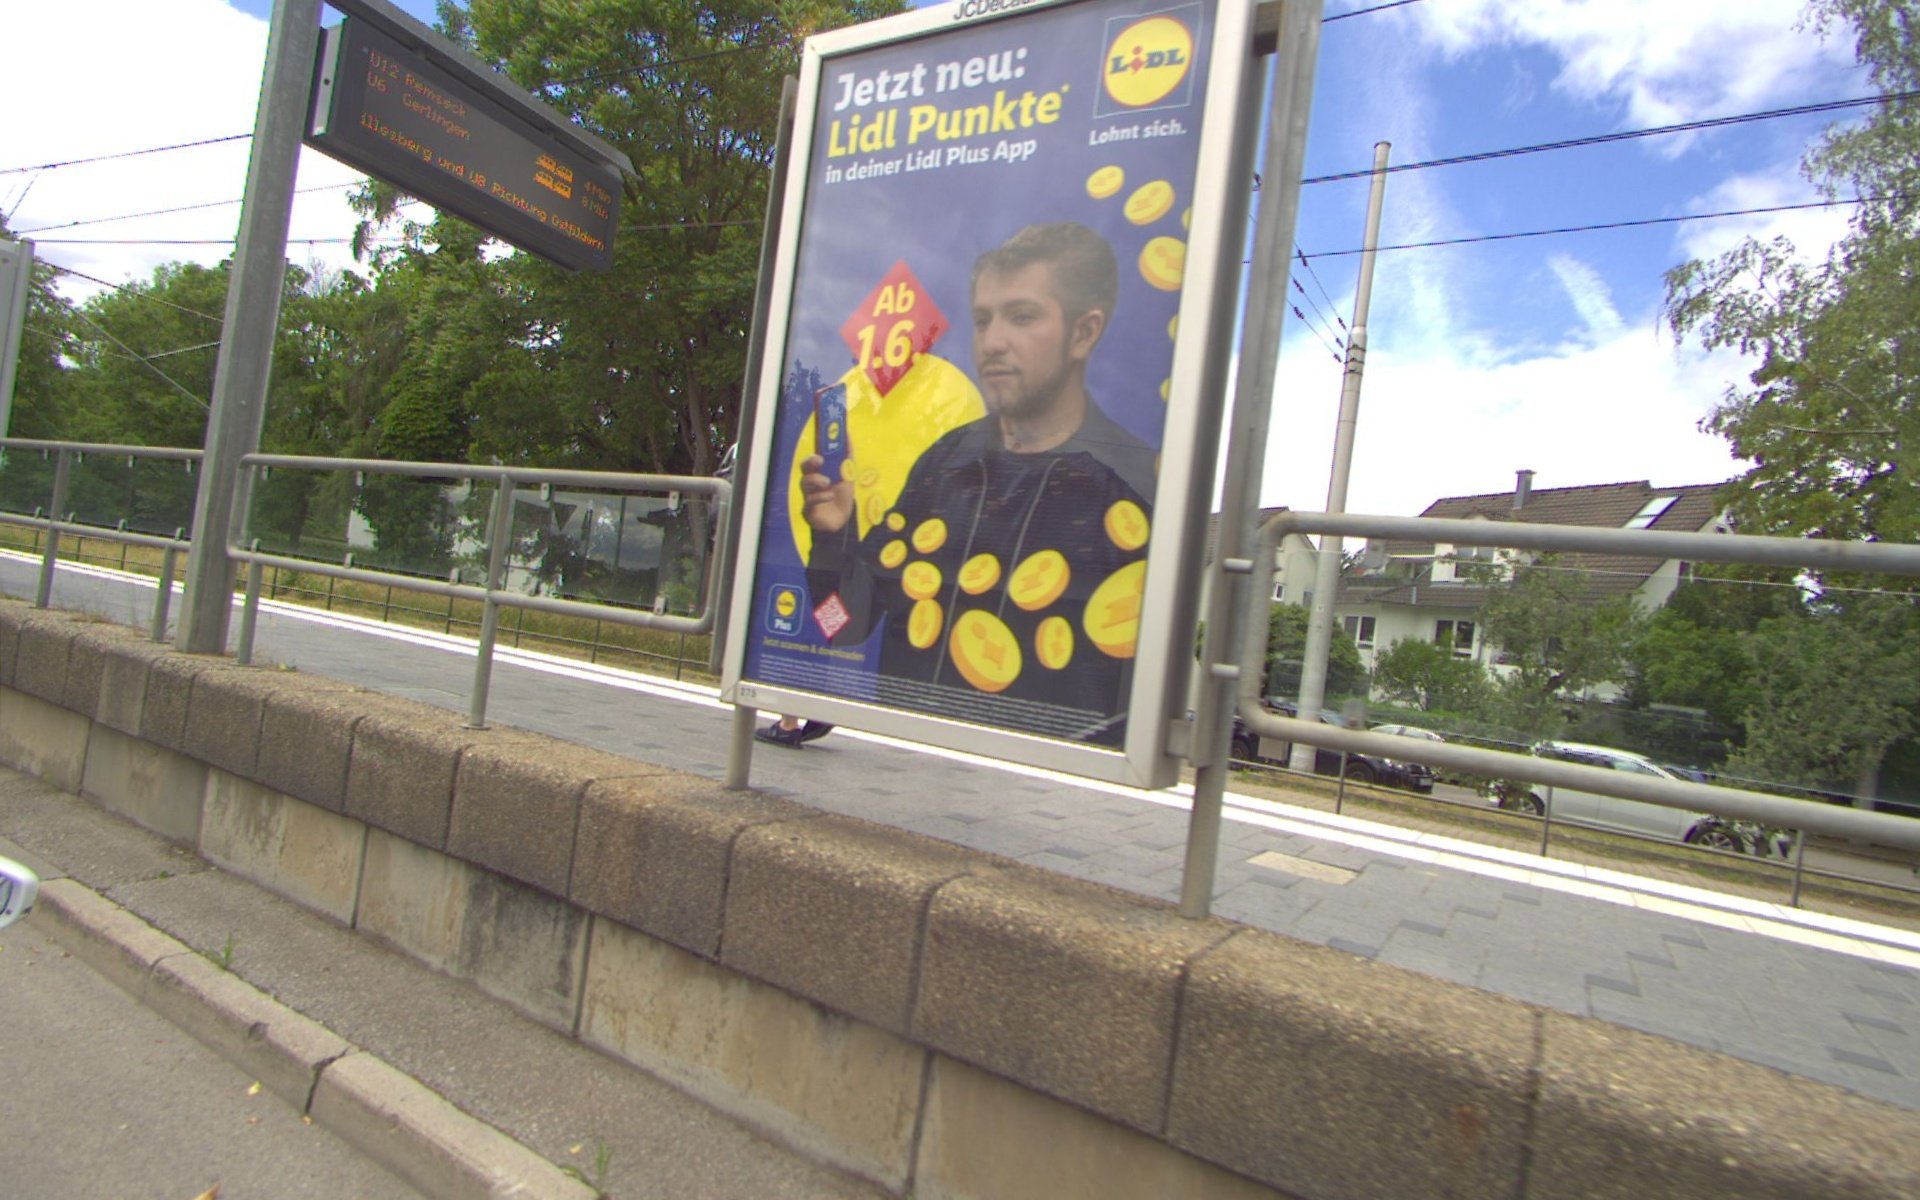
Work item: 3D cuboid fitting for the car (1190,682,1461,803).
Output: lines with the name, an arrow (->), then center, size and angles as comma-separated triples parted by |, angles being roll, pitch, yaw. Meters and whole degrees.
car -> 6.877, 2.662, 19.315 | 1.835, 1.505, 4.450 | 9, -2, -41

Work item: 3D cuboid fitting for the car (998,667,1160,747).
car -> 2.923, 2.677, 25.774 | 1.743, 1.504, 4.474 | 9, -4, -28

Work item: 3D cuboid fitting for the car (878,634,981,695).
car -> -1.304, 2.571, 40.740 | 1.749, 1.865, 4.457 | 10, -3, -37

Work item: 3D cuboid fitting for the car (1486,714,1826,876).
car -> 10.726, 2.925, 15.756 | 4.038, 1.592, 1.757 | 7, -2, 38

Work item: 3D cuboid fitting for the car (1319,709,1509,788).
car -> 13.043, 4.246, 29.149 | 1.750, 1.505, 4.646 | 8, -3, -40

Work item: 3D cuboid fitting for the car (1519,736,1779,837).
car -> 16.728, 4.482, 24.668 | 1.750, 1.505, 4.876 | 8, -3, -40

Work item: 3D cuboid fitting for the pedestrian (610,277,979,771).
pedestrian -> -0.639, -0.254, 4.033 | 0.895, 1.690, 0.887 | 7, -1, 34

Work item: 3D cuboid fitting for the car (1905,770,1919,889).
car -> 14.731, 3.304, 12.575 | 3.940, 1.592, 1.731 | 7, -2, 38
